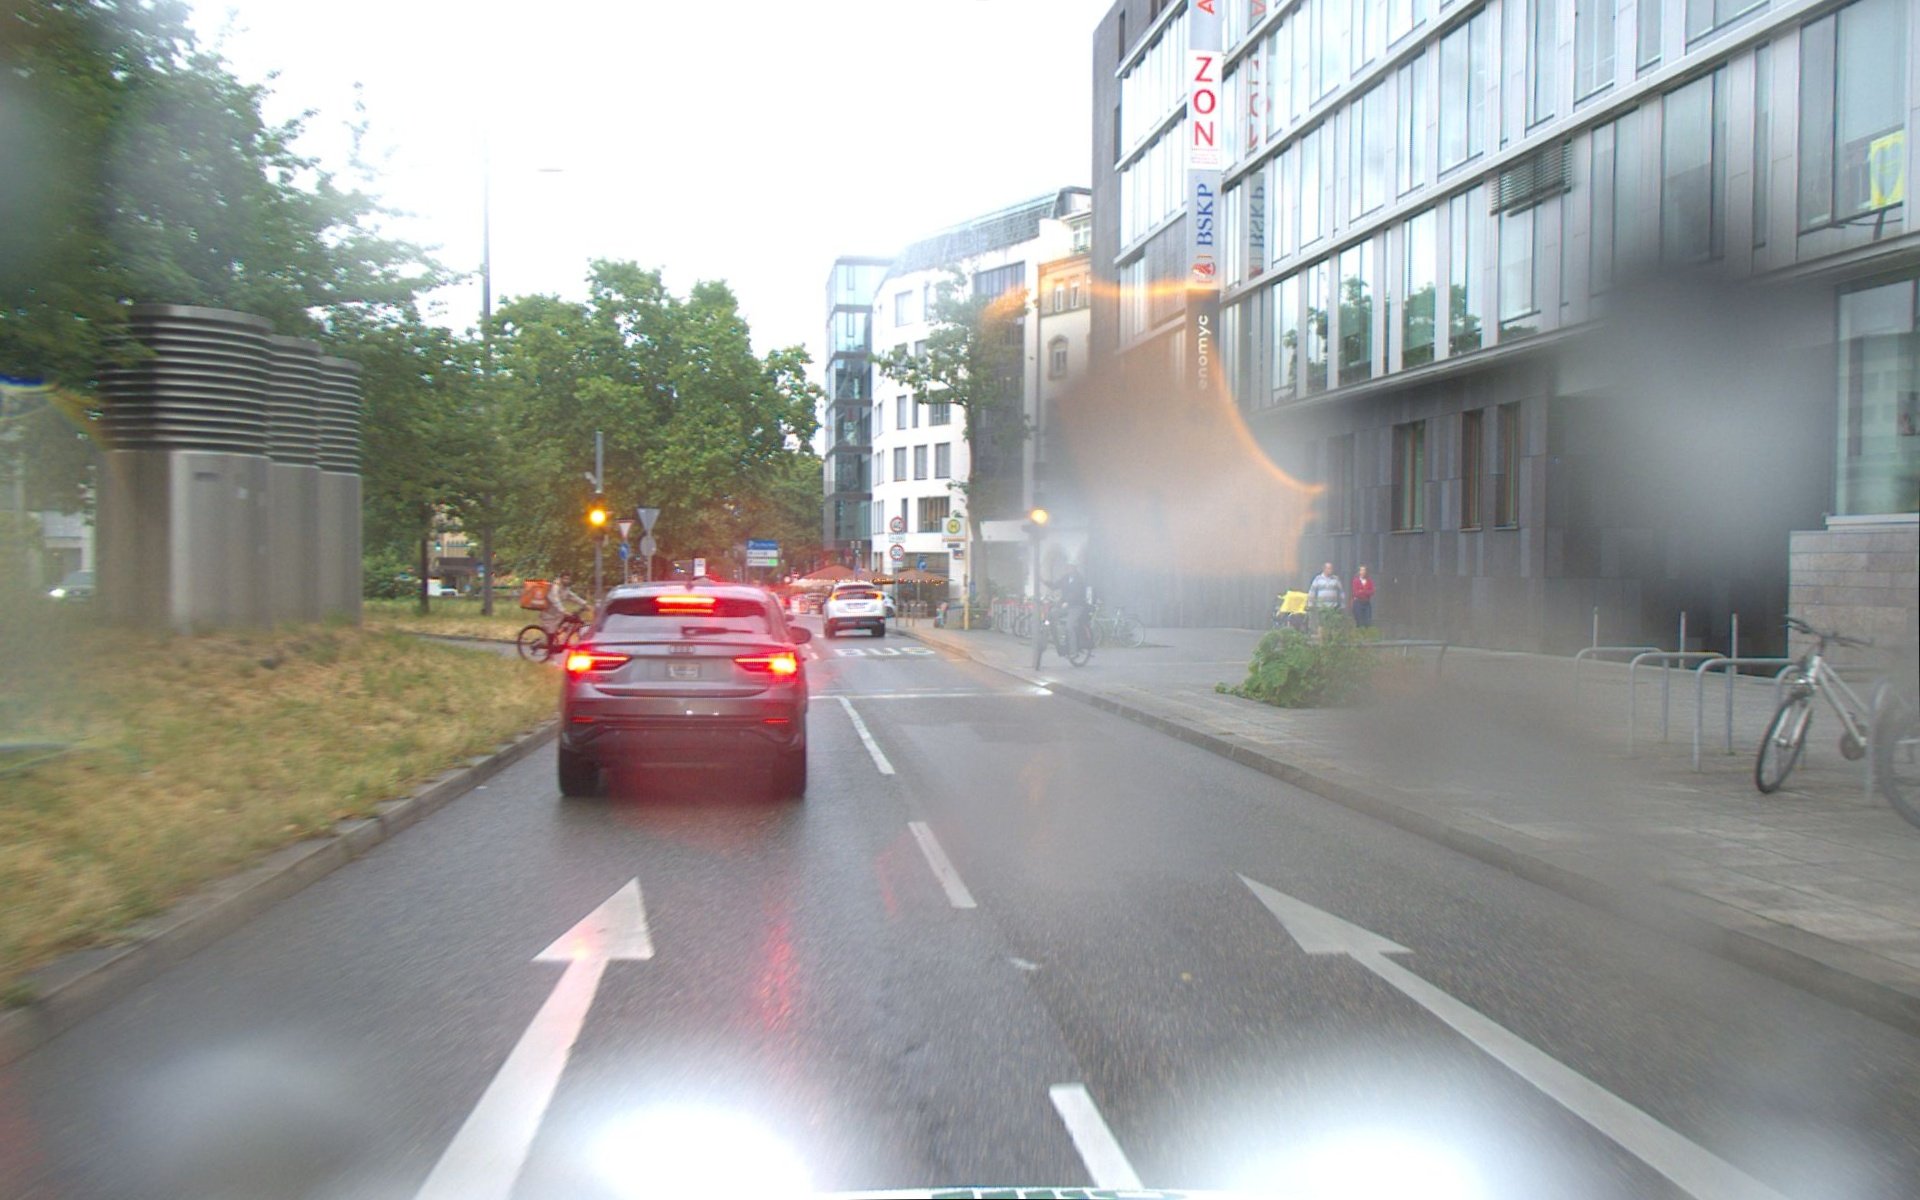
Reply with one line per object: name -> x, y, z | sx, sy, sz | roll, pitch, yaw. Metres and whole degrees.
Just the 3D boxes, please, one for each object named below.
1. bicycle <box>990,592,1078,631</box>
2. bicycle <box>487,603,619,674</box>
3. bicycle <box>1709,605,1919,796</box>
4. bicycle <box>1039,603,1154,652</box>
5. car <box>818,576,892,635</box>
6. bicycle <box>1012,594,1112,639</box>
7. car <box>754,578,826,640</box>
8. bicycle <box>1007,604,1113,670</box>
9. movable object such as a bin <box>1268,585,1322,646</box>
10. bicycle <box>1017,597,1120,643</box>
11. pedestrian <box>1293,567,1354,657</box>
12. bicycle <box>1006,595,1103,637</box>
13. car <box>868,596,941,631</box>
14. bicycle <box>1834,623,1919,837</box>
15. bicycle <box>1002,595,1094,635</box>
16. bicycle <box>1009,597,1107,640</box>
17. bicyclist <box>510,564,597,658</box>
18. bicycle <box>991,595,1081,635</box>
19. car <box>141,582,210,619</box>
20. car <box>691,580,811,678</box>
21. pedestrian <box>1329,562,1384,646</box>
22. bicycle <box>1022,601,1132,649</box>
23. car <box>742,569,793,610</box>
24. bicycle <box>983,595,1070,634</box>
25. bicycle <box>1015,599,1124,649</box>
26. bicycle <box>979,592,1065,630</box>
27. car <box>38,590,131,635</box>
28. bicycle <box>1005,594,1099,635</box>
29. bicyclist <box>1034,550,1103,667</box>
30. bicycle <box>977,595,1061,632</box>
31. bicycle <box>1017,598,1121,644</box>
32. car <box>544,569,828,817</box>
bicycle -> 2.143, 0.333, 47.936 | 2.489, 1.106, 0.676 | 0, 0, -9
bicycle -> -7.311, 0.687, 29.738 | 2.017, 1.133, 1.012 | 3, 0, 15
bicycle -> 6.110, 0.658, 11.176 | 1.799, 1.218, 0.660 | -1, 0, -1
bicycle -> 3.068, 0.607, 37.269 | 2.489, 1.075, 0.676 | 0, 0, -9
car -> -3.308, 0.154, 51.361 | 2.137, 1.730, 3.995 | 1, 0, -6
bicycle -> 2.611, 0.418, 42.418 | 2.489, 1.106, 0.676 | 0, 0, -9
car -> -4.832, 0.238, 47.370 | 1.907, 1.675, 4.241 | 1, 0, -4
bicycle -> 1.873, 0.660, 30.610 | 2.117, 1.165, 0.750 | 0, 0, -45
movable object such as a bin -> 7.341, 0.323, 36.280 | 0.717, 1.286, 1.442 | -2, 1, -7
bicycle -> 2.723, 0.495, 41.614 | 2.489, 1.106, 0.676 | 0, 0, -9
pedestrian -> 7.676, 0.247, 34.935 | 0.883, 1.823, 1.044 | -2, 0, -9
bicycle -> 2.523, 0.419, 44.190 | 2.489, 1.106, 0.676 | 0, 0, -9
car -> -3.293, 0.795, 97.300 | 3.917, 1.675, 1.994 | 5, 0, -12
bicycle -> 6.106, 0.698, 9.319 | 1.943, 1.123, 0.808 | -1, 0, -1
bicycle -> 2.453, 0.416, 46.364 | 2.489, 1.106, 0.676 | 0, 0, -9
bicycle -> 2.558, 0.478, 43.282 | 2.489, 1.078, 0.676 | 0, 0, -9
bicyclist -> -7.303, 0.205, 29.761 | 1.108, 1.610, 1.015 | 3, 0, 15
bicycle -> 2.161, 0.413, 47.184 | 2.489, 1.106, 0.676 | 0, 0, -9
car -> -33.704, 0.012, 71.147 | 1.788, 1.501, 4.180 | 1, 0, -13
car -> -4.042, 0.509, 32.022 | 2.121, 1.735, 4.546 | 1, 0, -7
pedestrian -> 8.428, 0.076, 35.190 | 0.705, 1.720, 1.098 | -2, 0, -9
bicycle -> 2.744, 0.581, 38.726 | 2.489, 1.106, 0.676 | 0, 0, -9
car -> -8.273, -0.447, 70.781 | 1.910, 1.675, 3.990 | 1, 0, -11
bicycle -> 1.961, 0.420, 48.814 | 2.489, 1.106, 0.676 | 0, 0, -9
bicycle -> 2.613, 0.571, 39.521 | 2.489, 1.106, 0.676 | 2, 0, -9
bicycle -> 1.863, 0.330, 49.556 | 2.489, 1.106, 0.676 | 0, 0, -9
car -> -30.085, 0.408, 56.952 | 1.835, 1.501, 3.987 | 1, 0, -13
bicycle -> 2.531, 0.400, 45.390 | 2.489, 1.106, 0.676 | 0, 0, -9
bicyclist -> 2.022, 0.153, 30.765 | 1.077, 2.119, 0.750 | 0, -1, -45
bicycle -> 1.779, 0.398, 50.273 | 2.489, 1.106, 0.626 | 0, 0, -9
bicycle -> 2.684, 0.506, 40.754 | 2.489, 1.106, 0.676 | 0, 0, -9
car -> -2.008, 0.598, 13.242 | 1.811, 1.644, 4.249 | 1, 1, -4
